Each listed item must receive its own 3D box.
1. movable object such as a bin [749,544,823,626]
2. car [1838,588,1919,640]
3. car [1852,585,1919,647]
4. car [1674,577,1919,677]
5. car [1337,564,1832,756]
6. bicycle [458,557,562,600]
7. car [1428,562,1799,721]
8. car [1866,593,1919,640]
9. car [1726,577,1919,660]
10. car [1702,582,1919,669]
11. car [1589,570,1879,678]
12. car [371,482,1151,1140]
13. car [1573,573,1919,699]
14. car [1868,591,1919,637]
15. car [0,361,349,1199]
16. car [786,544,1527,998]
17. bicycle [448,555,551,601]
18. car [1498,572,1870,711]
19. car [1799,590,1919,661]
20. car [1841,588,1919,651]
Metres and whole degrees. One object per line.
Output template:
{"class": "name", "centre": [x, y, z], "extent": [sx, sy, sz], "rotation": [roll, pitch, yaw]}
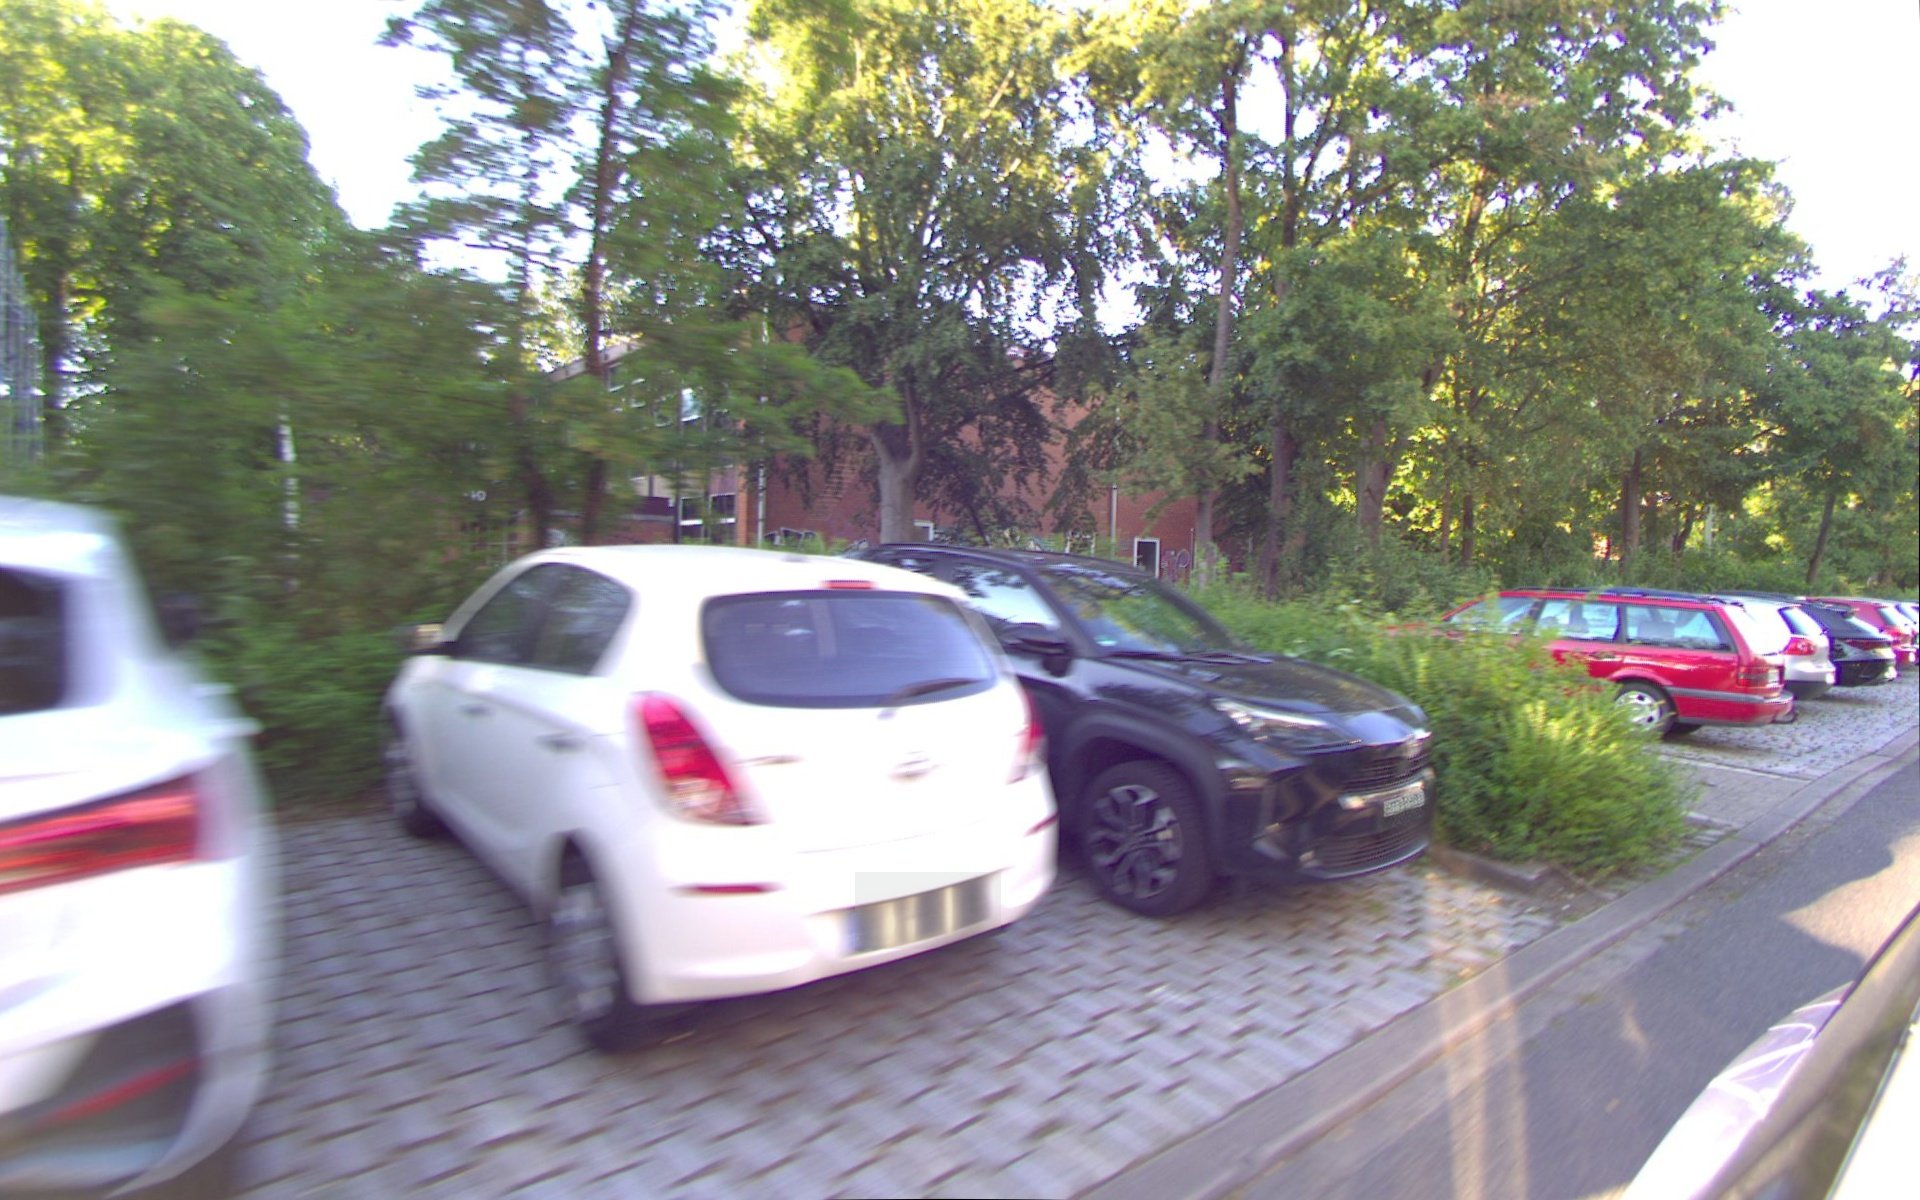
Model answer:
{"class": "movable object such as a bin", "centre": [-3.199, -0.283, 18.583], "extent": [0.966, 1.456, 0.964], "rotation": [1, 2, -37]}
{"class": "car", "centre": [30.562, 0.473, 32.448], "extent": [1.642, 1.544, 3.393], "rotation": [0, 2, -40]}
{"class": "car", "centre": [26.601, 0.519, 27.249], "extent": [1.643, 1.543, 3.618], "rotation": [1, 5, -42]}
{"class": "car", "centre": [16.488, 0.456, 19.697], "extent": [1.725, 1.492, 3.819], "rotation": [1, 5, -39]}
{"class": "car", "centre": [6.749, 0.500, 11.372], "extent": [1.711, 1.493, 4.348], "rotation": [2, 4, -41]}
{"class": "bicycle", "centre": [-11.439, -0.535, 25.779], "extent": [2.344, 1.057, 0.649], "rotation": [0, 2, -40]}
{"class": "car", "centre": [8.435, 0.416, 13.279], "extent": [1.713, 1.574, 3.718], "rotation": [0, 5, -43]}
{"class": "car", "centre": [32.736, 0.554, 33.686], "extent": [1.642, 1.559, 3.635], "rotation": [0, 1, -39]}
{"class": "car", "centre": [20.165, 0.366, 23.232], "extent": [1.788, 1.516, 3.736], "rotation": [-1, 6, -39]}
{"class": "car", "centre": [18.286, 0.463, 21.451], "extent": [1.725, 1.411, 3.760], "rotation": [-1, 6, -39]}
{"class": "car", "centre": [14.036, 0.345, 18.540], "extent": [1.799, 1.492, 3.820], "rotation": [0, 5, -38]}
{"class": "car", "centre": [-1.167, 0.461, 4.394], "extent": [1.786, 1.586, 3.595], "rotation": [0, 1, -41]}
{"class": "car", "centre": [12.447, 0.454, 16.165], "extent": [1.800, 1.492, 4.130], "rotation": [0, 5, -41]}
{"class": "car", "centre": [34.530, 0.539, 35.343], "extent": [1.709, 1.530, 3.958], "rotation": [0, 3, -40]}
{"class": "car", "centre": [-2.949, 0.468, 2.674], "extent": [1.692, 1.688, 4.131], "rotation": [0, 1, -40]}
{"class": "car", "centre": [0.771, 0.557, 5.559], "extent": [1.668, 1.614, 3.750], "rotation": [0, 1, -42]}
{"class": "bicycle", "centre": [-11.997, -0.569, 26.394], "extent": [2.344, 1.152, 0.649], "rotation": [0, 2, -40]}
{"class": "car", "centre": [10.208, 0.471, 14.529], "extent": [1.799, 1.471, 3.936], "rotation": [0, 5, -38]}
{"class": "car", "centre": [22.619, 0.619, 24.204], "extent": [1.705, 1.572, 3.673], "rotation": [0, 2, -42]}
{"class": "car", "centre": [24.962, 0.583, 25.660], "extent": [1.705, 1.462, 3.675], "rotation": [1, 5, -42]}
